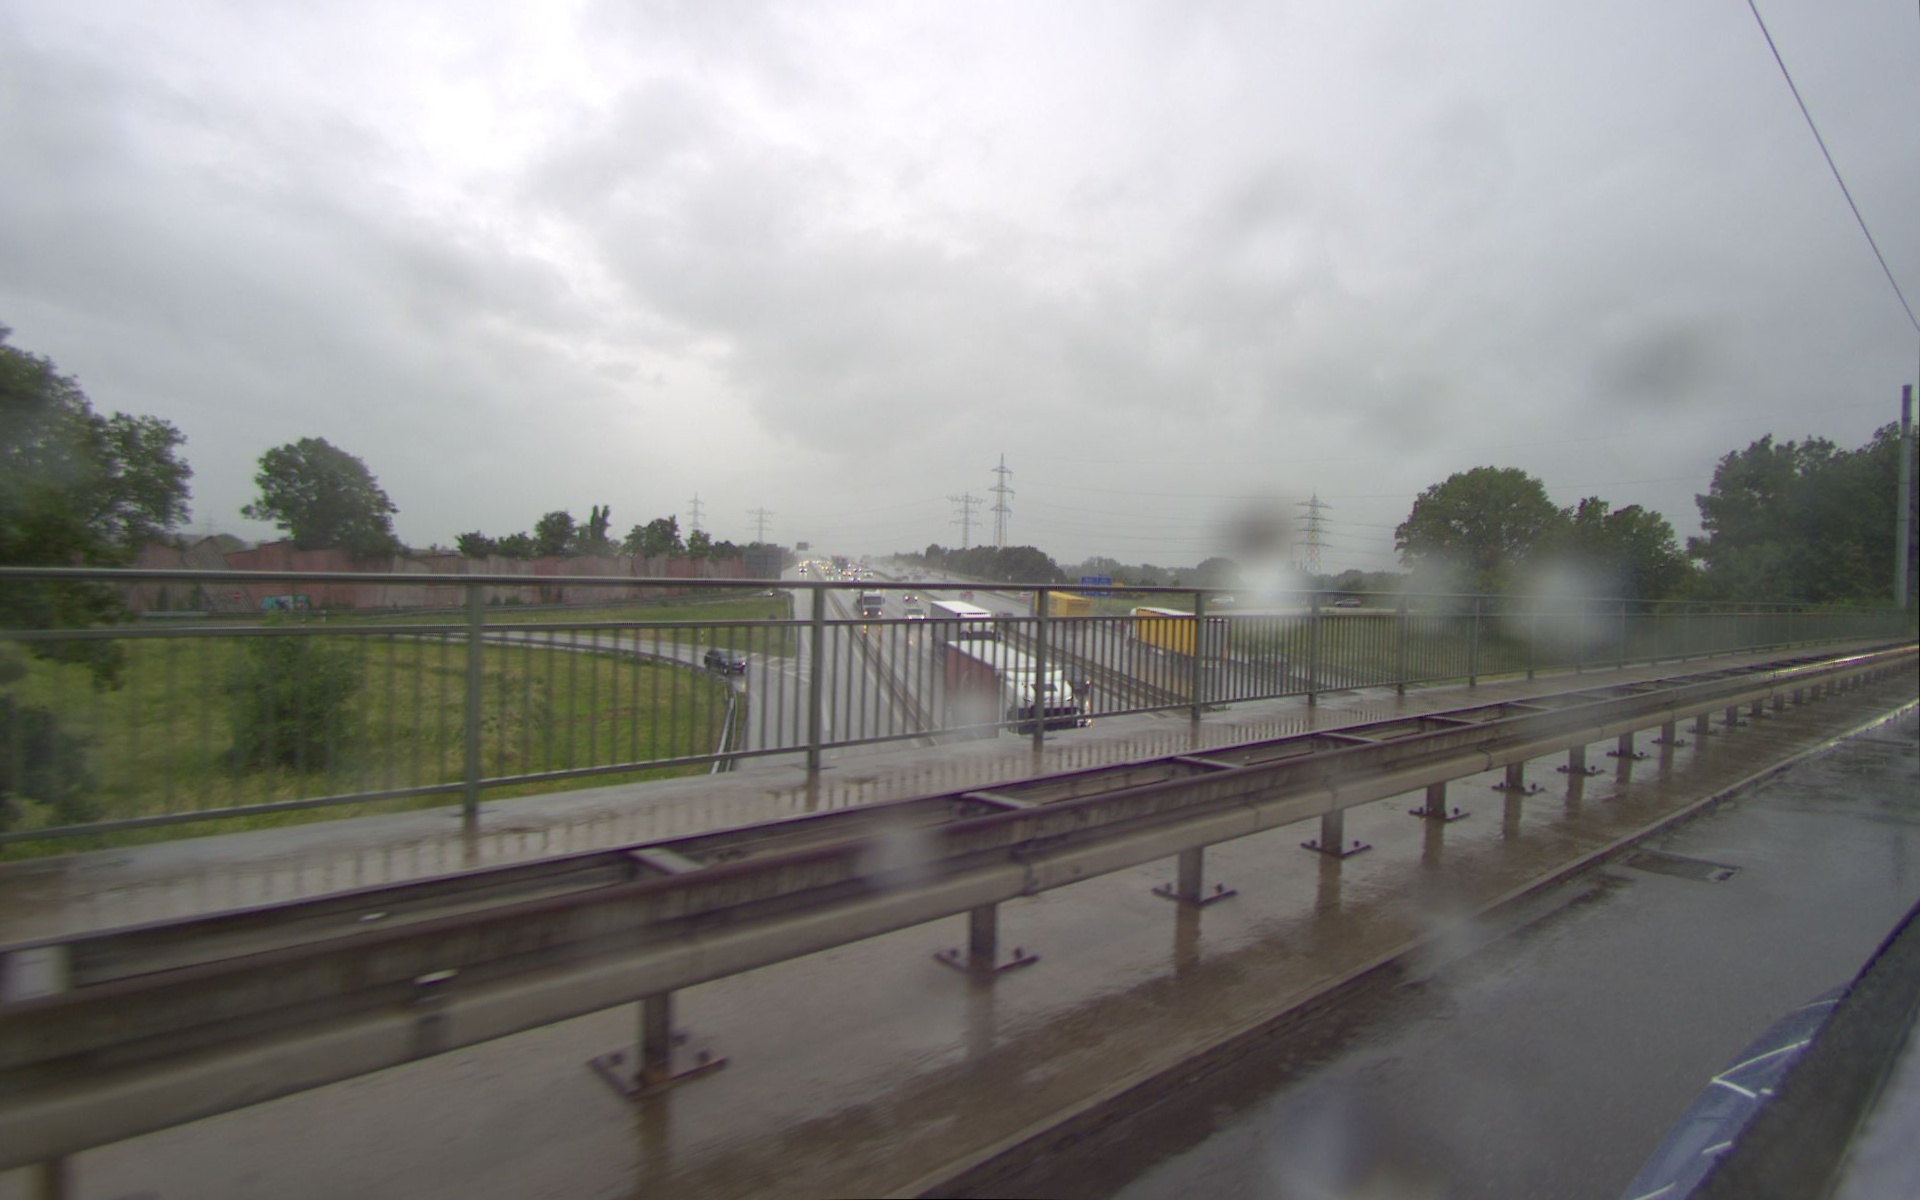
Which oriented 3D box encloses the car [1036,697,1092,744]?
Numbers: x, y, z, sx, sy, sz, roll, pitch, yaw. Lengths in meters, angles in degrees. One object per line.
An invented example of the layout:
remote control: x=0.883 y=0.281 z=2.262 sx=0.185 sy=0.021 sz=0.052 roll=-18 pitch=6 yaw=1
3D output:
car: x=4.983 y=5.806 z=49.048 sx=1.769 sy=1.517 sz=4.008 roll=-1 pitch=3 yaw=-8

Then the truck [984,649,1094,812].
truck: x=2.877 y=4.781 z=38.883 sx=3.079 sy=5.176 sz=5.816 roll=-1 pitch=3 yaw=-7

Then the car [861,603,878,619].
car: x=-10.708 y=1.261 z=119.158 sx=1.832 sy=1.856 sz=3.875 roll=0 pitch=0 yaw=-7

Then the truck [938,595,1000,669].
truck: x=0.500 y=2.188 z=76.579 sx=3.079 sy=4.496 sz=12.405 roll=-1 pitch=3 yaw=-7

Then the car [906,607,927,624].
car: x=-4.664 y=1.673 z=108.535 sx=1.887 sy=1.781 sz=3.876 roll=0 pitch=0 yaw=-8

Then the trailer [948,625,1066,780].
trailer: x=1.807 y=4.243 z=47.149 sx=3.079 sy=5.008 sz=13.871 roll=-1 pitch=3 yaw=-7
